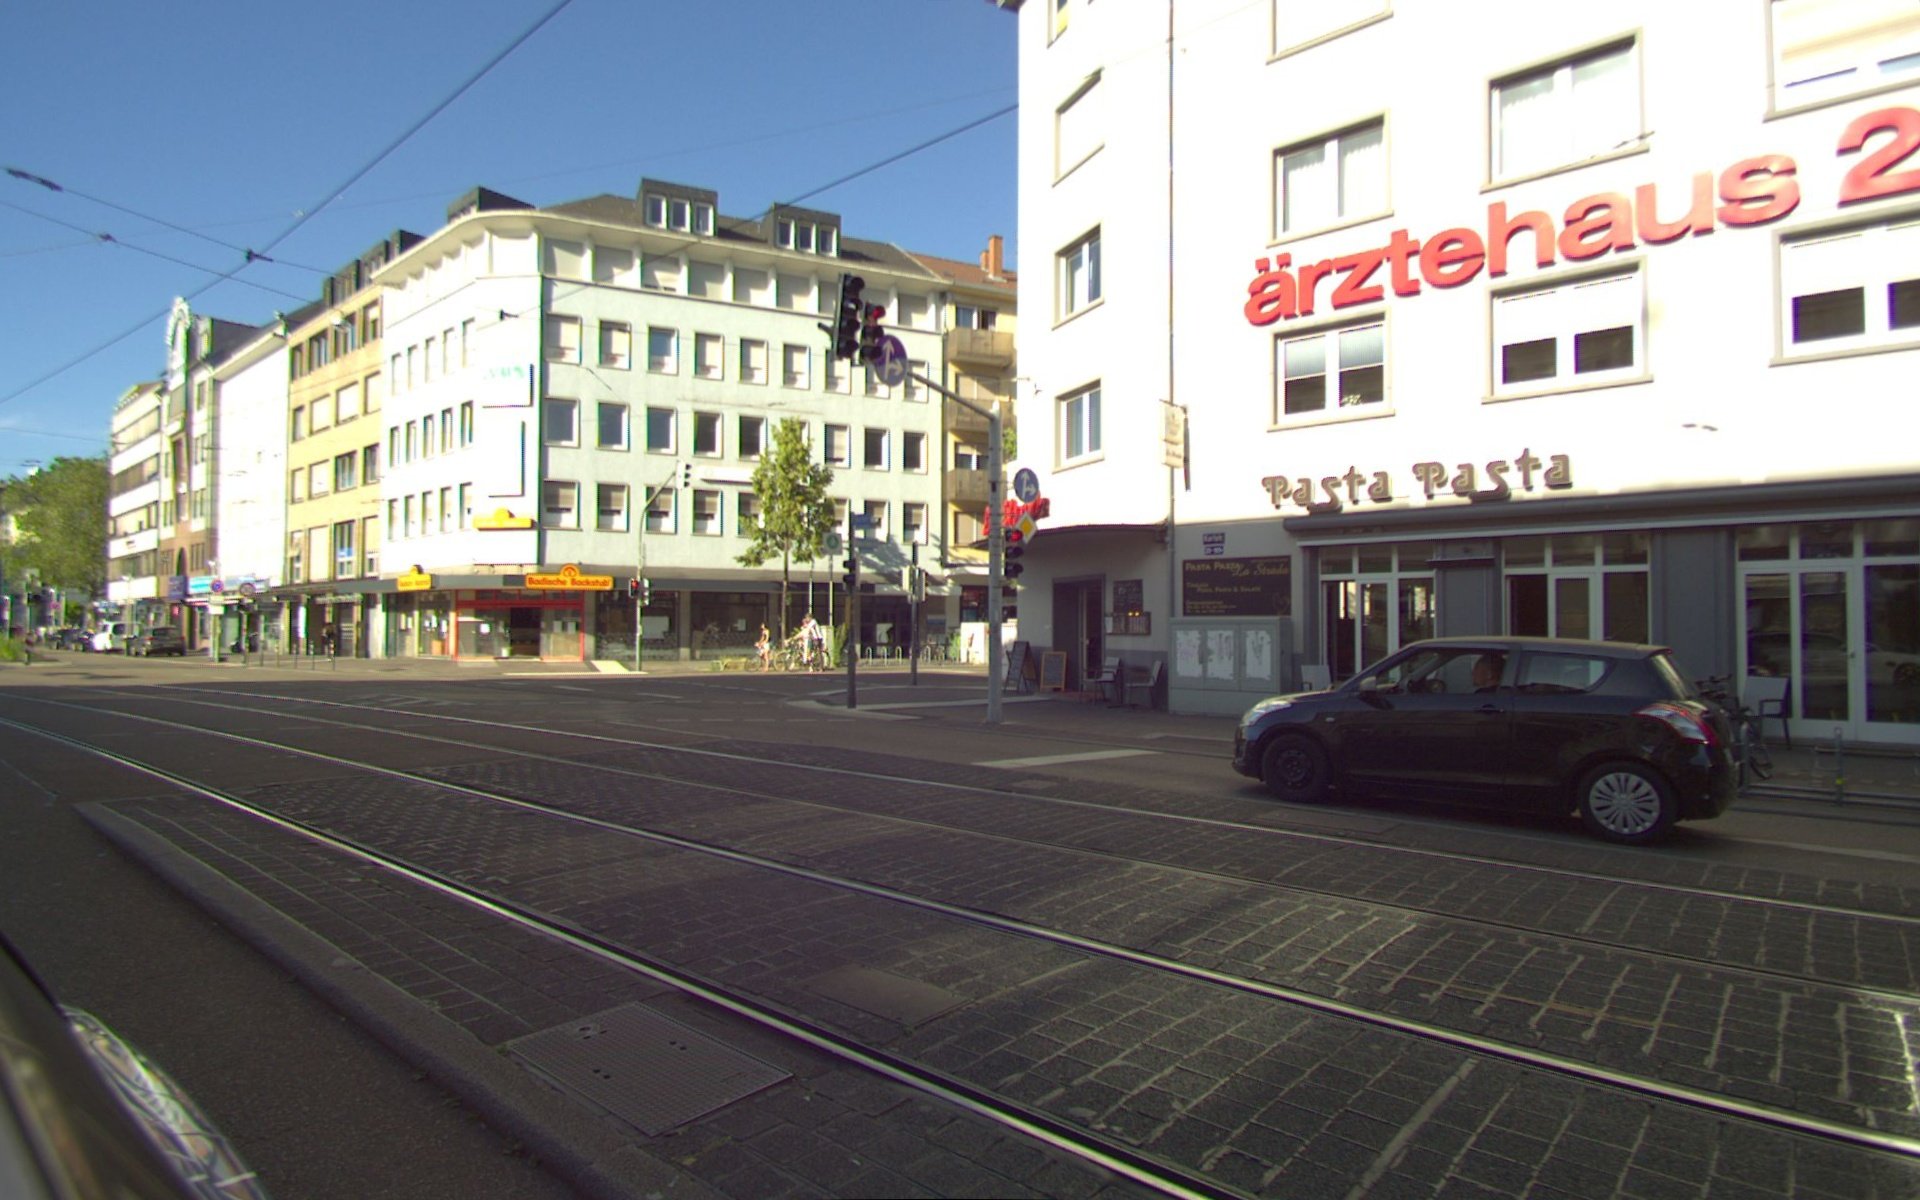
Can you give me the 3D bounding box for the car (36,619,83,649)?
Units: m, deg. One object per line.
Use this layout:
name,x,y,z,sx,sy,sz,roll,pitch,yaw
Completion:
car,-63.012,2.400,70.794,3.998,2.029,1.973,-2,-2,41

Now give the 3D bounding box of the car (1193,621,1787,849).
car,4.228,0.968,8.515,4.137,1.457,1.695,-2,-5,42

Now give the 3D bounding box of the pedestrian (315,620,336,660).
pedestrian,-27.778,1.754,44.323,0.700,1.722,0.562,1,-3,-28

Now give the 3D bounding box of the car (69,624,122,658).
car,-54.321,2.556,63.594,3.998,2.029,1.973,-2,-2,41

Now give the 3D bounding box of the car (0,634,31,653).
car,-91.432,4.159,96.499,1.999,1.811,3.944,-2,-3,42

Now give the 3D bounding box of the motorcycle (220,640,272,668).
motorcycle,-40.593,3.061,57.570,0.999,1.517,2.226,-2,-3,38

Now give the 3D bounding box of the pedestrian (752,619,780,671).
pedestrian,-6.560,1.498,34.219,0.644,1.725,0.794,1,-2,-40

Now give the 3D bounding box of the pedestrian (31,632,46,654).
pedestrian,-73.593,3.421,80.811,0.571,1.728,0.707,0,-2,-6

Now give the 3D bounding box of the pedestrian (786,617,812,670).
pedestrian,-5.362,1.446,33.713,0.550,1.741,0.782,1,-2,-39

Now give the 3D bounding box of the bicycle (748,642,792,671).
bicycle,-6.447,1.913,34.400,1.432,0.963,0.482,2,-3,-39

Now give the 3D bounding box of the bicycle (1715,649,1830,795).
bicycle,8.133,1.155,10.206,0.772,1.233,2.084,-1,-1,36

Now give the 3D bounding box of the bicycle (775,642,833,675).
bicycle,-5.085,1.900,32.996,1.697,1.015,0.762,2,-6,-37

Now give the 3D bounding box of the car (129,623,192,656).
car,-43.413,2.144,54.911,3.998,1.719,1.973,-2,-2,41

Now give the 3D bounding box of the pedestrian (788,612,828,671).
pedestrian,-4.970,1.348,33.081,0.985,1.881,0.782,1,-5,-39

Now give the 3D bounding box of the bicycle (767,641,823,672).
bicycle,-5.482,1.869,33.685,1.765,0.975,0.555,2,-3,-37

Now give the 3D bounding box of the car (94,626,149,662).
car,-49.833,2.579,60.129,4.844,2.029,1.971,-2,-3,44
